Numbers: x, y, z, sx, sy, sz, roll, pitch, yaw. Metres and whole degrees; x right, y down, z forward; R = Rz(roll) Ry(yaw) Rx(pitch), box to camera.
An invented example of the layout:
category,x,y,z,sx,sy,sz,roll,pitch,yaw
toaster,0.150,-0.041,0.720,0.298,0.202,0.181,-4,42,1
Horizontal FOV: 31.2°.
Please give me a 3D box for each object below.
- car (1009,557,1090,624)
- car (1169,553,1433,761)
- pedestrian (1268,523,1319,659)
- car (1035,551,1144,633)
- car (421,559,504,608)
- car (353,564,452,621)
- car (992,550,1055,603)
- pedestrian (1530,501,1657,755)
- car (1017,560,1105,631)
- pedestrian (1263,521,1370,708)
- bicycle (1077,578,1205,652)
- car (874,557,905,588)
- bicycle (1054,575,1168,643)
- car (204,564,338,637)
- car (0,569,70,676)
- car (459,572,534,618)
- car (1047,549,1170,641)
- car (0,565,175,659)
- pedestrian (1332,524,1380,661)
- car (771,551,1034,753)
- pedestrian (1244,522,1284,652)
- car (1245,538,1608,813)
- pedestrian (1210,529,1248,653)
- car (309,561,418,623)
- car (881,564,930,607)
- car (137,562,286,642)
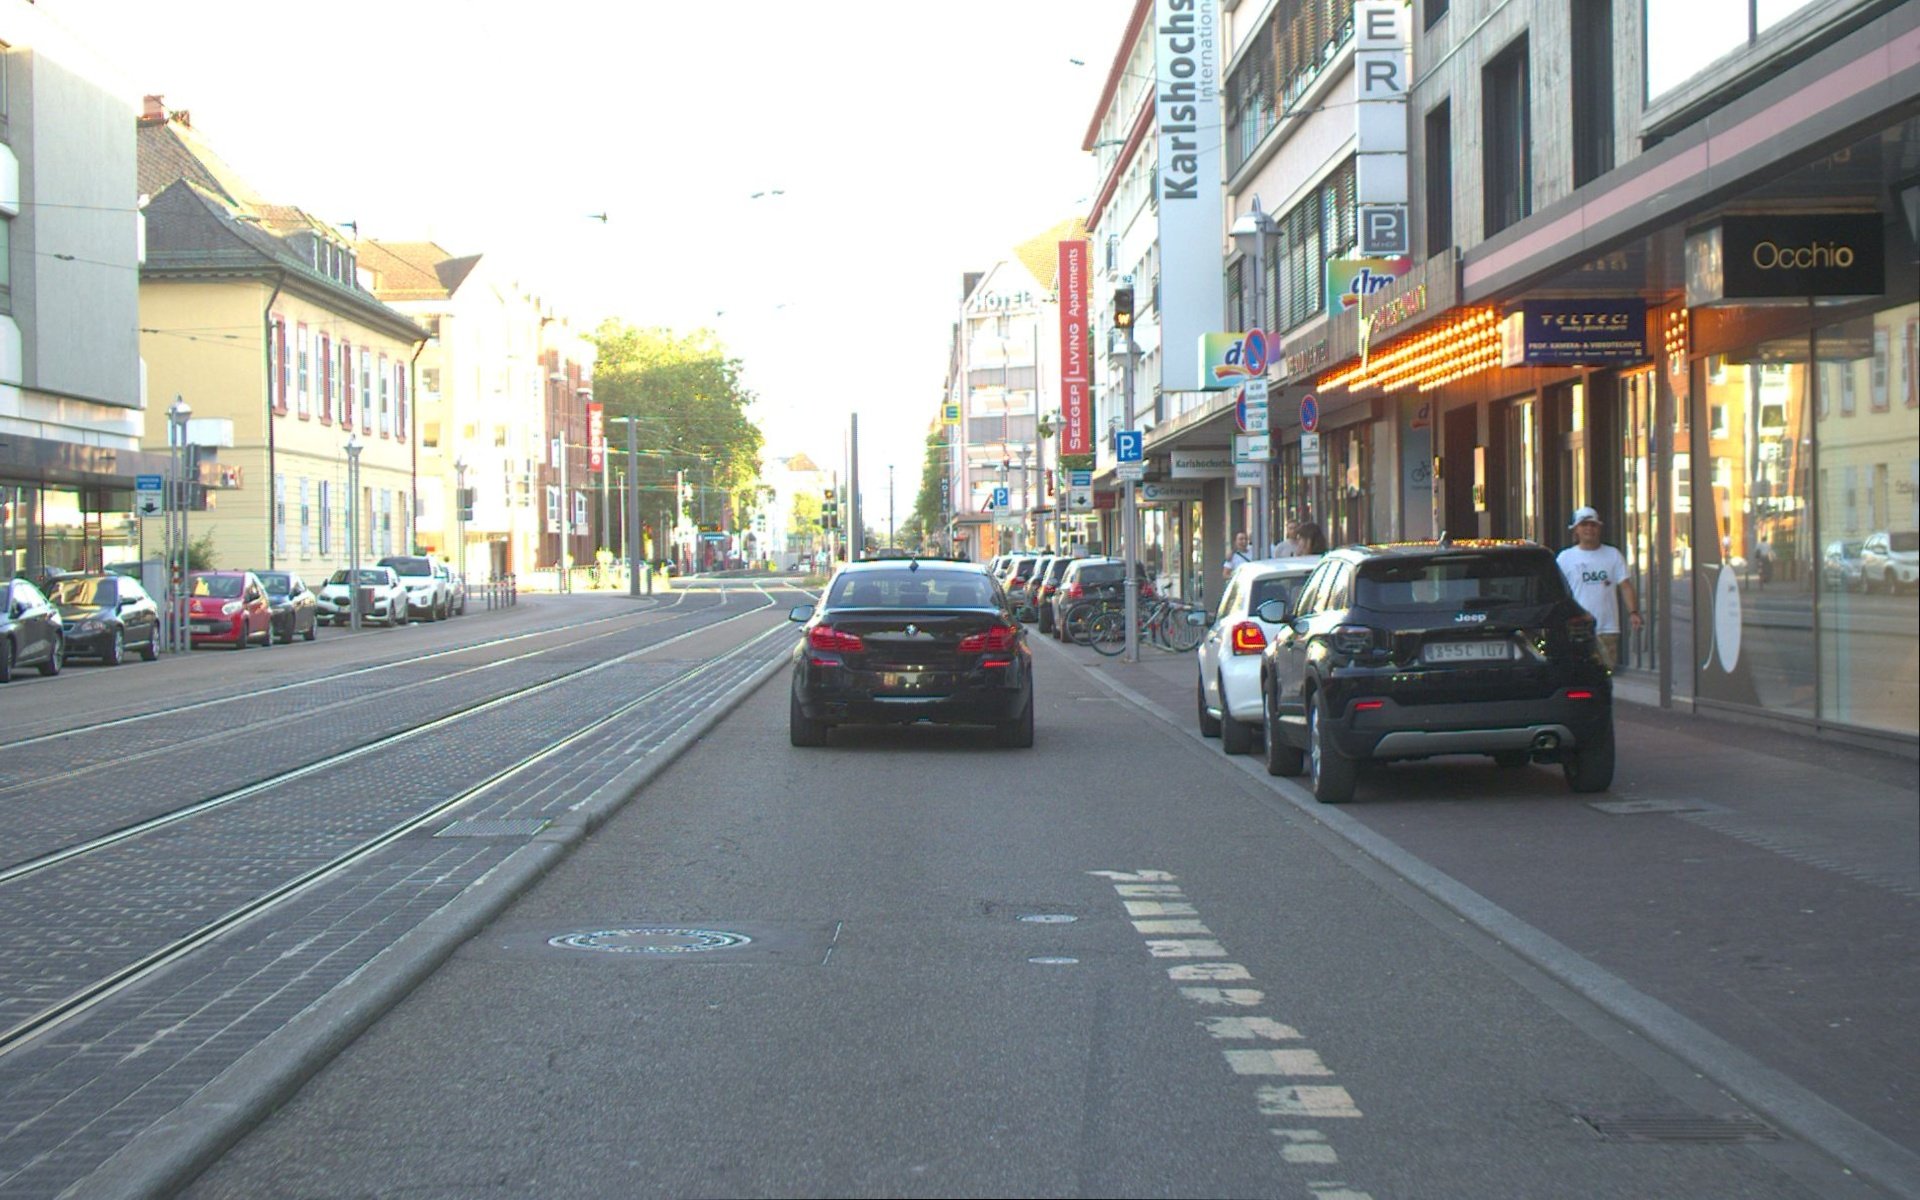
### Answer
category,x,y,z,sx,sy,sz,roll,pitch,yaw
car,2.089,-0.223,81.354,1.774,1.543,3.503,0,0,-1
car,2.595,0.387,26.865,1.559,1.437,3.709,-3,1,-1
pedestrian,4.435,-0.121,45.730,0.554,1.785,0.760,-1,1,-1
car,2.478,-0.146,66.660,1.903,1.543,3.780,0,0,-1
car,-15.043,-0.522,104.043,1.928,1.430,4.246,0,1,-1
car,-14.538,-0.208,89.858,1.928,1.430,4.246,0,1,-1
car,1.891,-0.692,102.738,1.774,1.543,3.503,0,0,-1
pedestrian,4.452,0.189,24.203,0.689,1.734,0.820,-2,1,1
car,2.211,-0.105,76.020,1.774,1.543,3.503,0,0,-1
pedestrian,3.191,0.127,30.801,0.557,1.642,0.760,-2,1,-35
bicycle,2.660,0.222,50.666,1.861,1.076,0.468,0,-1,1
car,-4.484,-1.731,219.382,1.993,1.832,4.000,0,-2,-1
bicycle,2.473,0.152,56.435,1.861,1.115,0.468,0,-1,1
car,-14.059,-0.016,70.357,1.928,1.430,4.246,0,1,-1
car,-14.025,0.288,48.365,1.928,1.430,4.246,0,1,-1
car,-15.256,-0.176,113.251,1.928,1.430,4.246,0,1,-1
car,2.537,-0.091,59.640,1.903,1.543,4.000,0,0,-1
car,-14.093,0.161,55.436,1.928,1.430,4.246,0,1,-1
pedestrian,5.227,-0.102,45.408,0.508,1.786,0.760,-1,1,0
car,-0.399,0.378,27.875,1.953,1.493,4.465,0,0,1
pedestrian,4.224,-0.181,47.740,0.488,1.784,0.760,-1,1,3
car,2.851,0.405,21.749,1.654,1.532,3.886,-2,1,-1
pedestrian,3.739,-0.127,47.764,0.475,1.693,0.752,-1,1,3
car,-14.487,-0.204,83.679,1.928,1.430,4.246,-1,1,-1
car,-2.010,-0.533,127.266,1.774,1.543,3.503,0,0,-1
car,-14.168,0.012,65.267,1.928,1.430,4.246,0,1,-1
